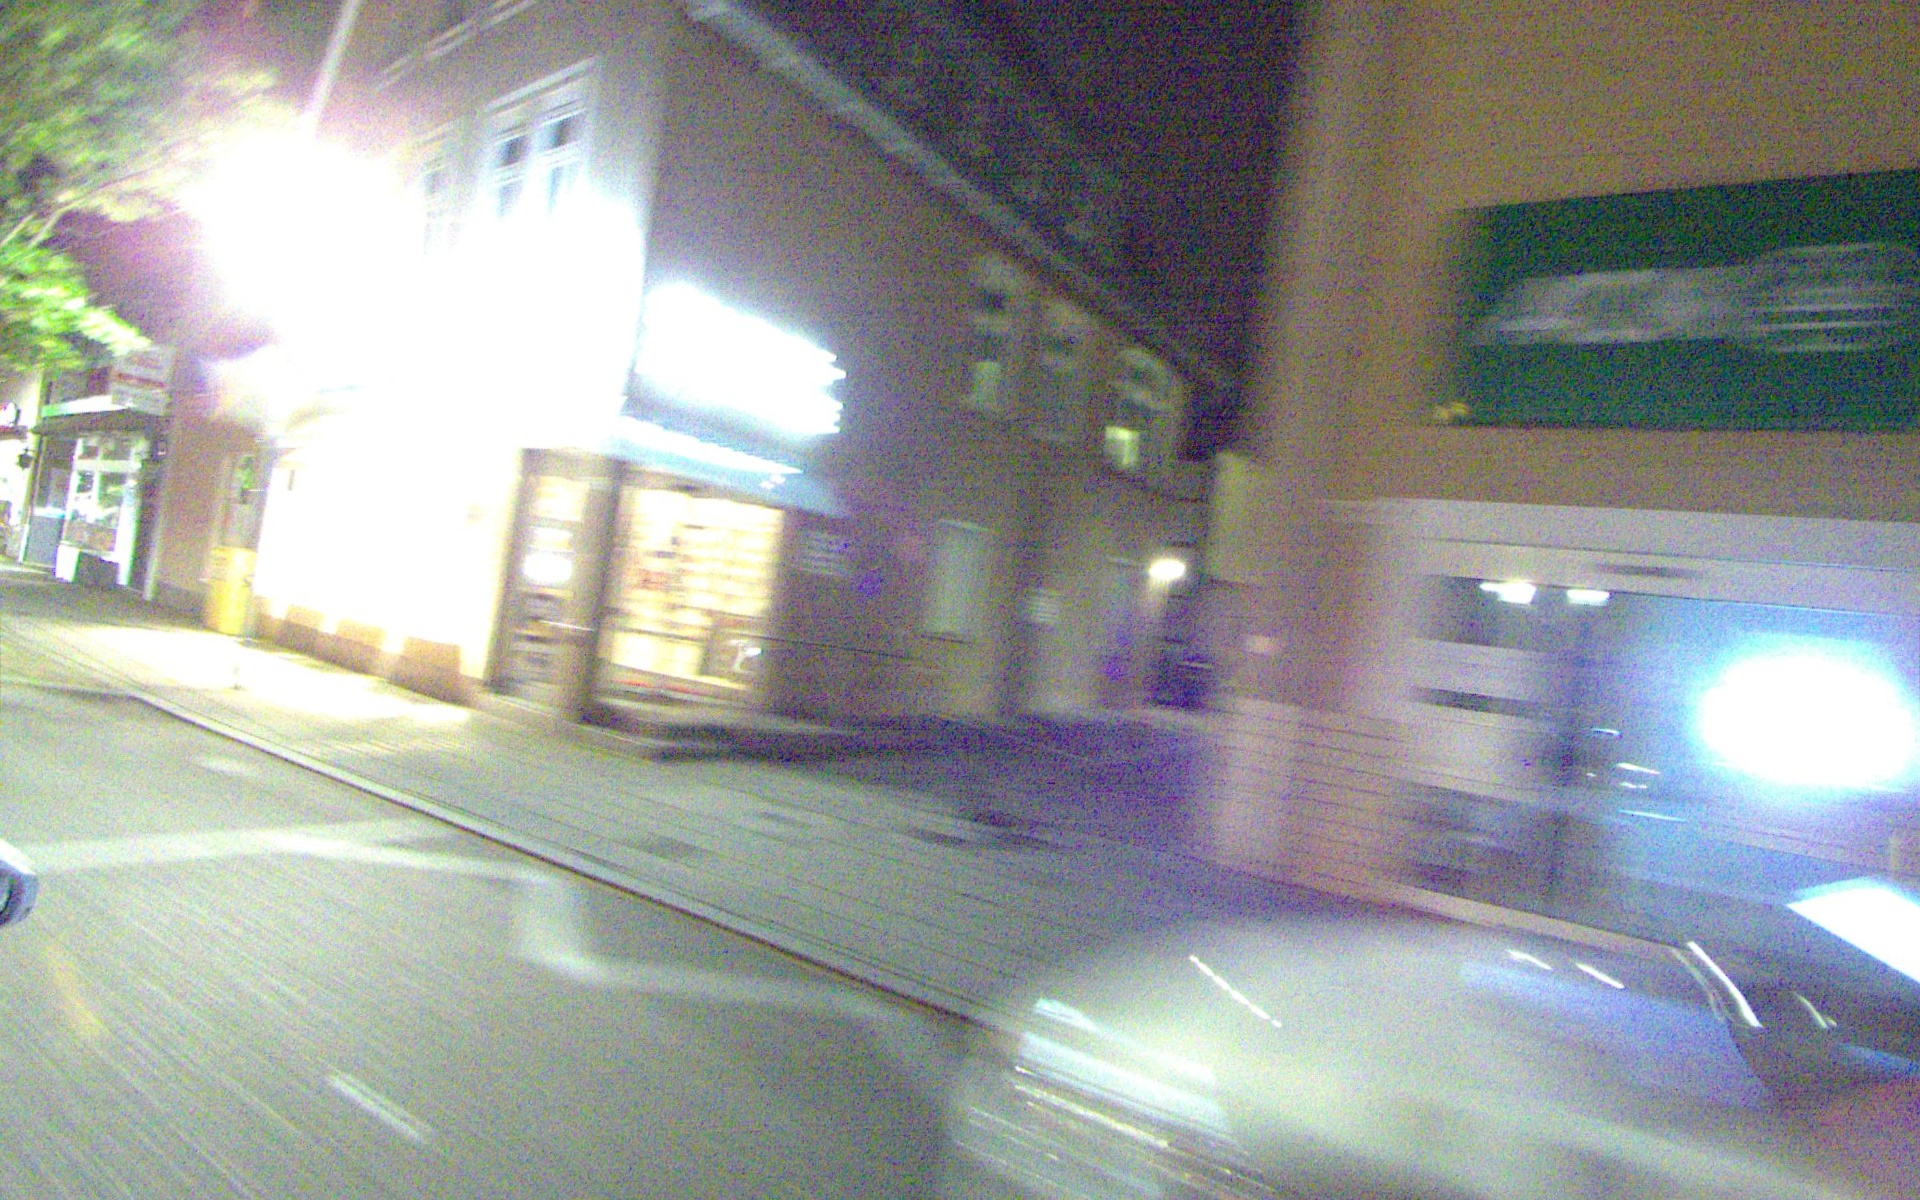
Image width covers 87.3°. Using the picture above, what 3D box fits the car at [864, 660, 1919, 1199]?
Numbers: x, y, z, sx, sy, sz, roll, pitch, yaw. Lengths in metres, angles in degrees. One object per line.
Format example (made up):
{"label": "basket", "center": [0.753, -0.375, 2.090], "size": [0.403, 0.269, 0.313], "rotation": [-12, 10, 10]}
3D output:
{"label": "car", "center": [2.229, 1.123, 1.271], "size": [4.559, 1.505, 1.745], "rotation": [6, -2, 32]}
